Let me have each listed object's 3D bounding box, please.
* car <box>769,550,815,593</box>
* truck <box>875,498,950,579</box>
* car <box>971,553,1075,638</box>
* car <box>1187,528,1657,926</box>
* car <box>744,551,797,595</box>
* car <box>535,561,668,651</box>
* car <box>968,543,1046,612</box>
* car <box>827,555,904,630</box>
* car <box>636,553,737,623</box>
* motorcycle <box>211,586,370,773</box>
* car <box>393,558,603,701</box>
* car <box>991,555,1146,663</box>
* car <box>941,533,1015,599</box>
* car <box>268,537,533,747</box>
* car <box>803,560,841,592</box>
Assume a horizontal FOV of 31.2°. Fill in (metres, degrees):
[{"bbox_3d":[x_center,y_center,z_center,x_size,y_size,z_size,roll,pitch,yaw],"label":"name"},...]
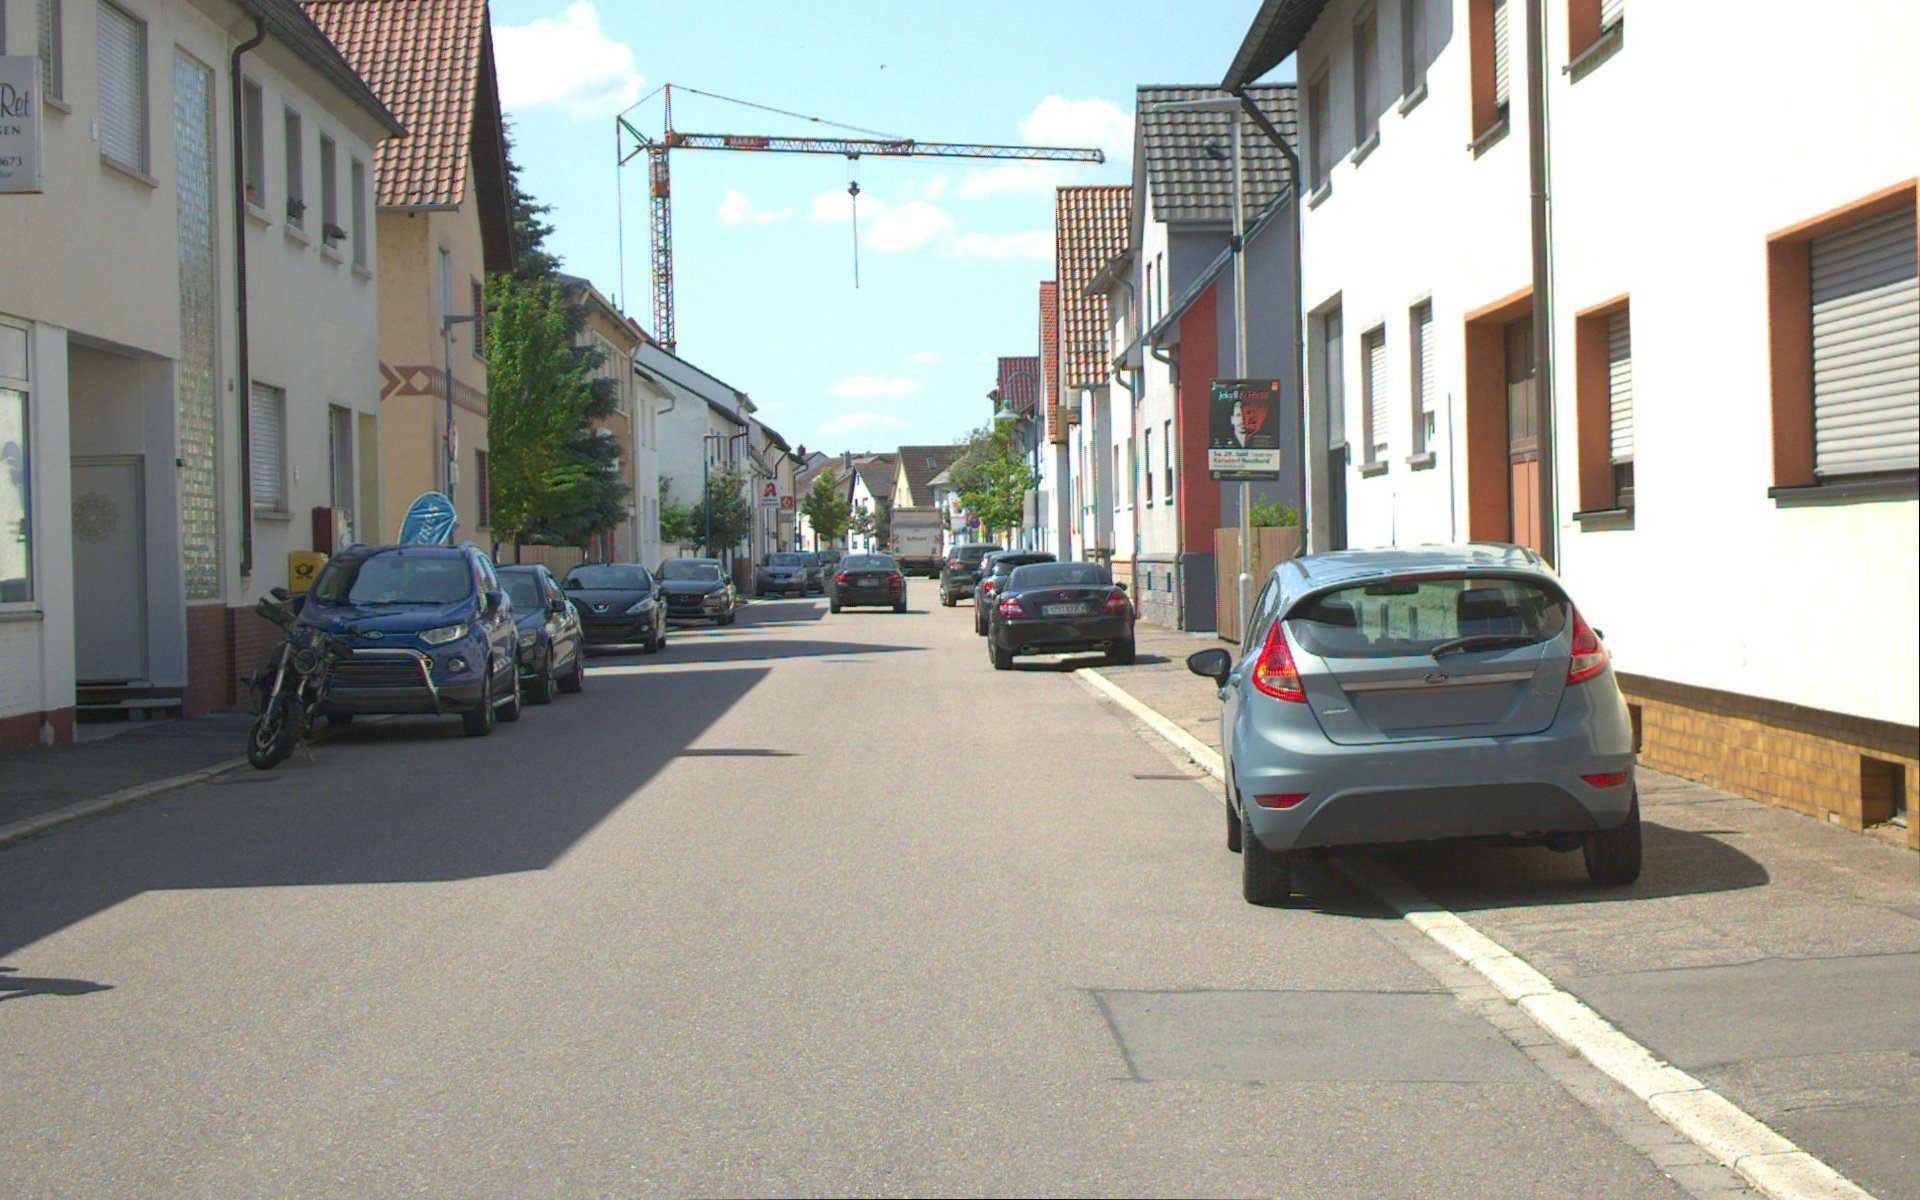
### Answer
[{"bbox_3d":[-6.431,-1.110,131.837,1.653,1.603,4.061,-2,1,-1],"label":"car"},{"bbox_3d":[-2.520,-3.071,176.187,3.378,3.852,13.927,-2,1,-2],"label":"truck"},{"bbox_3d":[1.080,-0.107,60.806,1.688,1.417,3.657,-1,1,-1],"label":"car"},{"bbox_3d":[1.975,0.481,15.672,1.722,1.476,3.749,-4,1,3],"label":"car"},{"bbox_3d":[-6.861,-0.977,124.860,1.758,1.519,4.289,-2,1,-1],"label":"car"},{"bbox_3d":[-5.643,0.071,54.499,1.761,1.369,4.067,0,1,-1],"label":"car"},{"bbox_3d":[1.082,-0.550,80.836,1.617,1.490,3.972,-4,1,-1],"label":"car"},{"bbox_3d":[-2.339,-0.200,84.950,1.782,1.747,4.000,-2,0,-2],"label":"car"},{"bbox_3d":[-5.978,-0.286,75.504,1.768,1.455,4.436,-1,1,1],"label":"car"},{"bbox_3d":[-5.001,0.565,25.818,0.808,1.308,2.106,-1,1,-1],"label":"motorcycle"},{"bbox_3d":[-4.891,0.271,36.904,1.697,1.407,4.390,-1,1,-1],"label":"car"},{"bbox_3d":[1.339,0.086,43.957,1.815,1.271,4.147,-1,1,0],"label":"car"},{"bbox_3d":[0.472,-0.921,93.099,1.728,1.711,4.276,-1,1,-3],"label":"car"},{"bbox_3d":[-4.838,0.311,30.216,1.717,1.634,4.149,-3,1,-2],"label":"car"},{"bbox_3d":[-6.876,-1.194,171.199,1.723,1.550,4.172,0,1,0],"label":"car"}]
